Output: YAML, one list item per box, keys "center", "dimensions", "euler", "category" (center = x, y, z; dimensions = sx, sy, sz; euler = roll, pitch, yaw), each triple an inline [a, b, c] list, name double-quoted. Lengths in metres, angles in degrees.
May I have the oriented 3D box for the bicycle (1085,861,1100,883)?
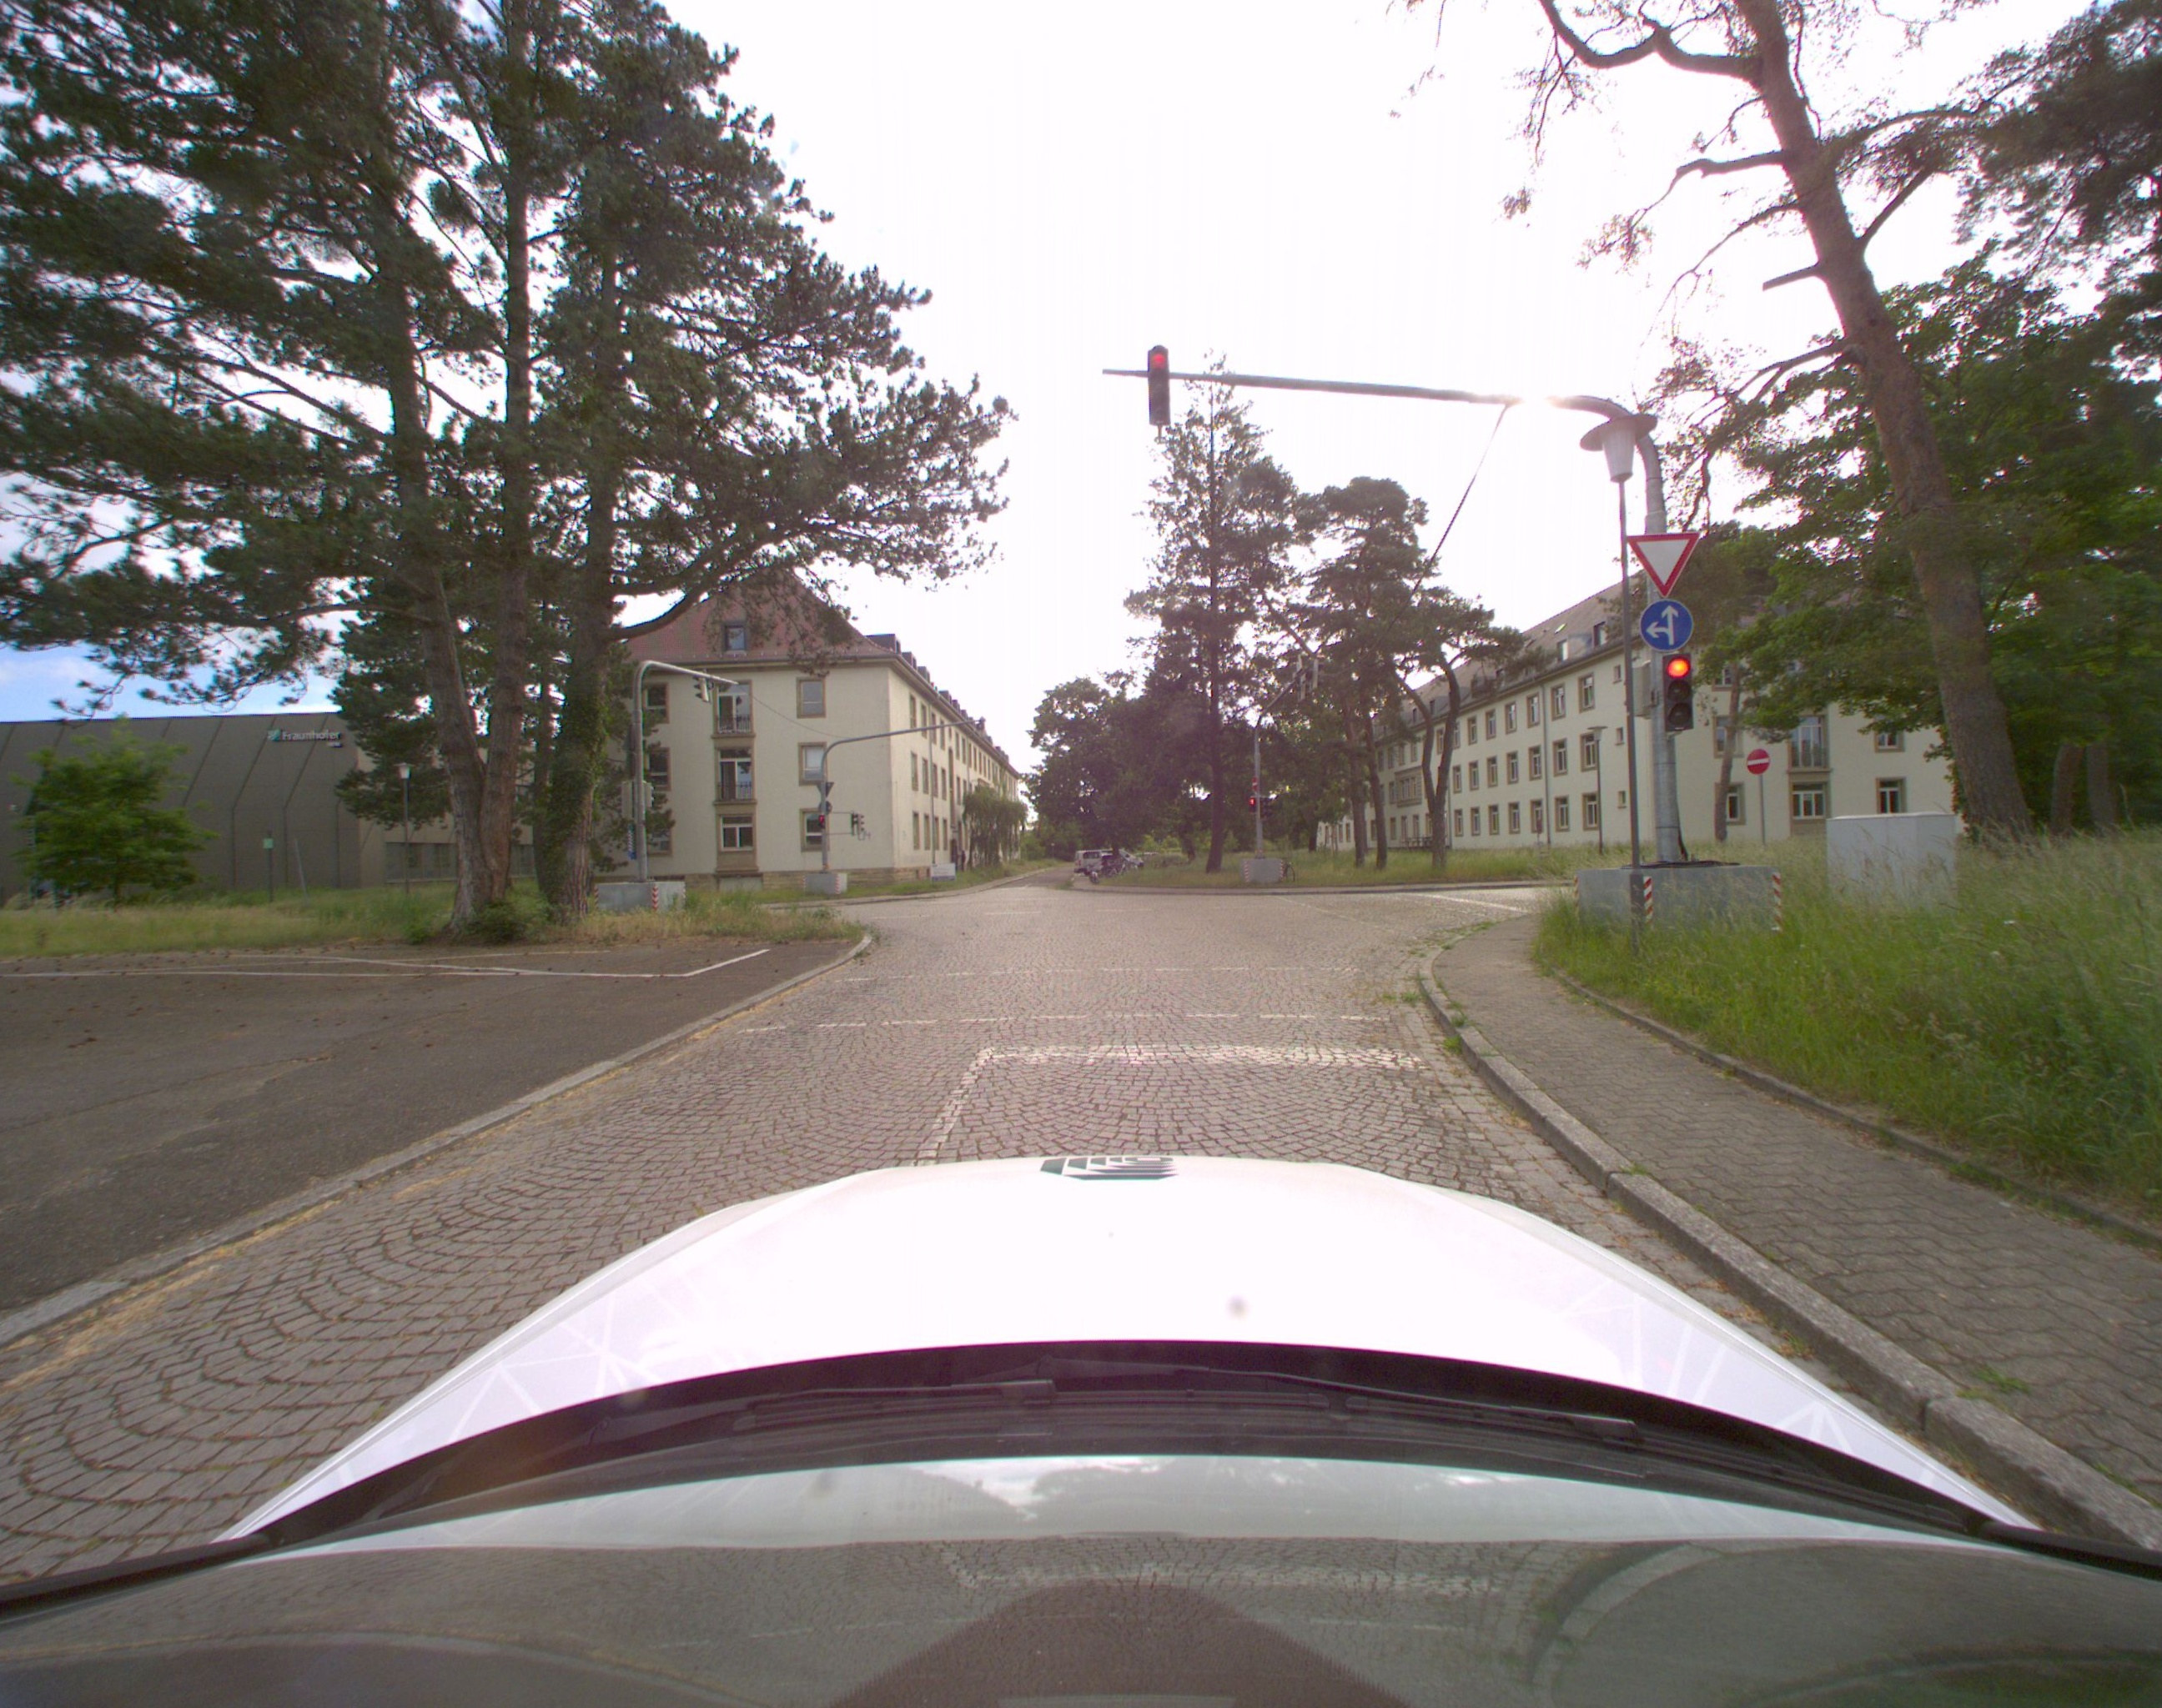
- center: [0.619, 0.931, 42.569]
  dimensions: [0.619, 1.082, 1.680]
  euler: [-1, -1, 5]
  category: "bicycle"

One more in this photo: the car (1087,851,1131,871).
- center: [2.591, 0.627, 75.966]
  dimensions: [4.019, 1.718, 1.681]
  euler: [-2, -1, 0]
  category: "car"

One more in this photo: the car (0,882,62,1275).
- center: [-6.482, 0.876, 2.299]
  dimensions: [4.725, 1.488, 1.866]
  euler: [0, 1, -1]
  category: "car"

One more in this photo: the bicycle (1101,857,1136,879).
- center: [2.180, 0.794, 47.018]
  dimensions: [1.976, 1.248, 0.624]
  euler: [-1, -1, -1]
  category: "bicycle"

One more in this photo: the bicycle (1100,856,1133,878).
- center: [2.186, 0.817, 50.289]
  dimensions: [1.976, 1.248, 0.624]
  euler: [-3, -1, -1]
  category: "bicycle"

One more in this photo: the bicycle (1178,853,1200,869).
- center: [7.770, 0.495, 58.688]
  dimensions: [1.543, 1.124, 0.401]
  euler: [-2, 0, 2]
  category: "bicycle"

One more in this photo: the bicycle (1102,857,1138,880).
- center: [2.153, 0.784, 45.525]
  dimensions: [1.976, 1.248, 0.624]
  euler: [-1, -1, -1]
  category: "bicycle"

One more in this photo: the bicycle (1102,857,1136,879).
- center: [2.203, 0.798, 47.543]
  dimensions: [1.976, 1.248, 0.624]
  euler: [-1, -1, -1]
  category: "bicycle"

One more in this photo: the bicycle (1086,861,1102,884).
- center: [0.657, 0.901, 40.614]
  dimensions: [0.619, 1.113, 1.991]
  euler: [-1, 0, 4]
  category: "bicycle"

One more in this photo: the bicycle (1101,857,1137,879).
- center: [2.165, 0.790, 46.385]
  dimensions: [1.976, 1.248, 0.624]
  euler: [-1, -1, -1]
  category: "bicycle"

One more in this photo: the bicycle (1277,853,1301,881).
- center: [8.021, 0.488, 31.459]
  dimensions: [0.577, 0.970, 1.680]
  euler: [-4, 1, 5]
  category: "bicycle"

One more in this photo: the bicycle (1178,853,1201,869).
- center: [7.675, 0.491, 57.458]
  dimensions: [1.543, 1.124, 0.401]
  euler: [-2, 0, 2]
  category: "bicycle"

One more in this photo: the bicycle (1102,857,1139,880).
- center: [2.154, 0.777, 44.599]
  dimensions: [1.976, 1.248, 0.624]
  euler: [-1, -1, -1]
  category: "bicycle"

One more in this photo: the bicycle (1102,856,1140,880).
- center: [2.145, 0.773, 43.970]
  dimensions: [1.976, 1.248, 0.624]
  euler: [-1, -1, -1]
  category: "bicycle"

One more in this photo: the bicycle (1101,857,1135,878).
- center: [2.202, 0.805, 48.622]
  dimensions: [1.976, 1.248, 0.624]
  euler: [-1, -1, -1]
  category: "bicycle"

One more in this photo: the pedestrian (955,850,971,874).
- center: [-8.697, 0.581, 60.050]
  dimensions: [0.833, 1.781, 0.943]
  euler: [-2, 0, 7]
  category: "pedestrian"

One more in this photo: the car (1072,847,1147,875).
- center: [2.127, 0.535, 62.079]
  dimensions: [5.311, 1.916, 2.140]
  euler: [-2, 0, -14]
  category: "car"

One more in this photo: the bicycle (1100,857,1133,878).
- center: [2.177, 0.813, 49.629]
  dimensions: [1.976, 1.248, 0.624]
  euler: [-1, -1, -1]
  category: "bicycle"

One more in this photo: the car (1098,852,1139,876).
- center: [2.683, 0.707, 58.593]
  dimensions: [2.838, 1.558, 1.472]
  euler: [-2, 1, 0]
  category: "car"
